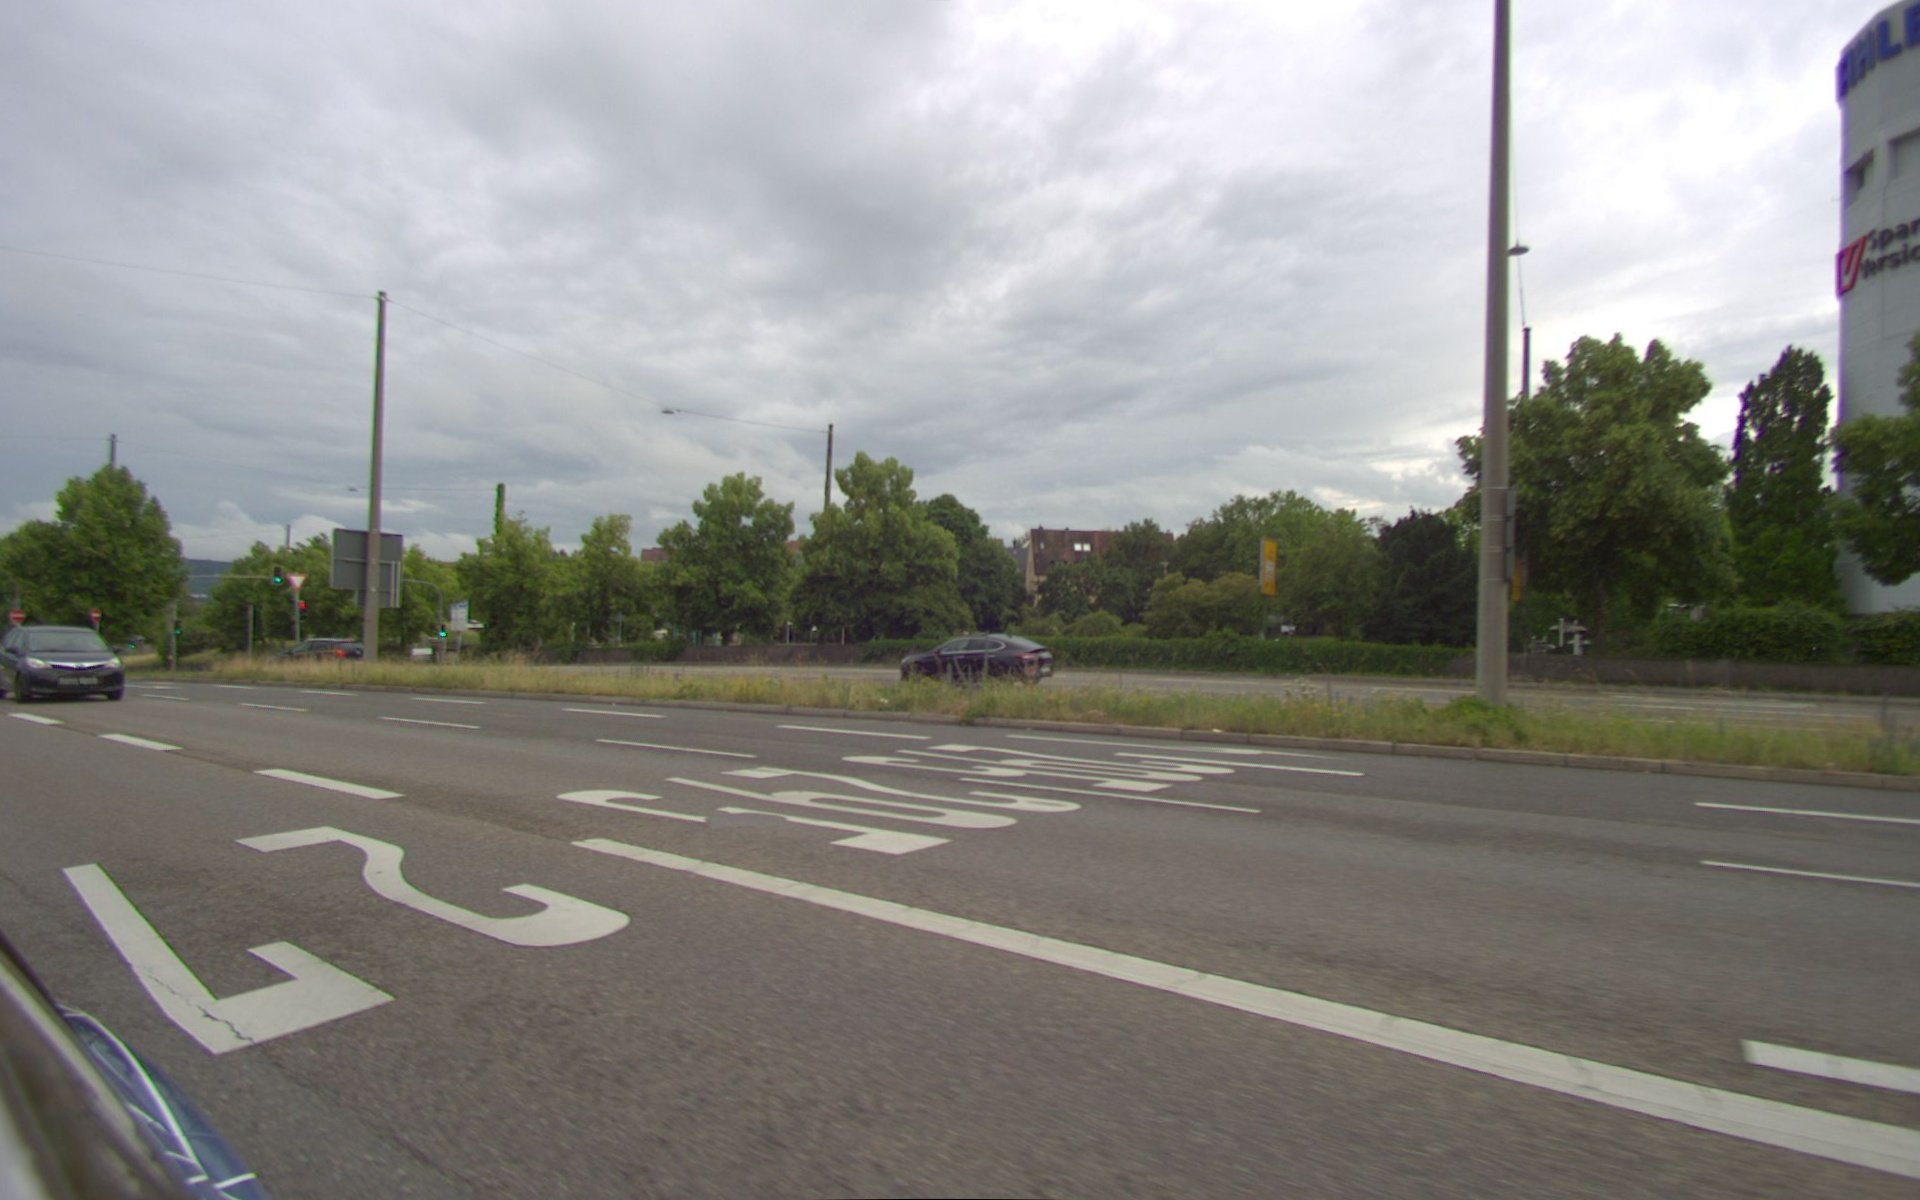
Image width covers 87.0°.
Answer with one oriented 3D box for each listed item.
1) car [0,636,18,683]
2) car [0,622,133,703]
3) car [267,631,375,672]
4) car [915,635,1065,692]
[{"bbox_3d":[-40.280,2.456,41.320,3.992,1.875,1.976,-3,-3,36],"label":"car"},{"bbox_3d":[-19.377,1.297,21.596,4.037,1.577,1.779,-1,-4,38],"label":"car"},{"bbox_3d":[-24.714,2.011,39.119,3.984,1.519,1.876,-2,-4,30],"label":"car"},{"bbox_3d":[0.786,1.699,26.960,3.664,1.371,1.582,-3,-1,32],"label":"car"}]
